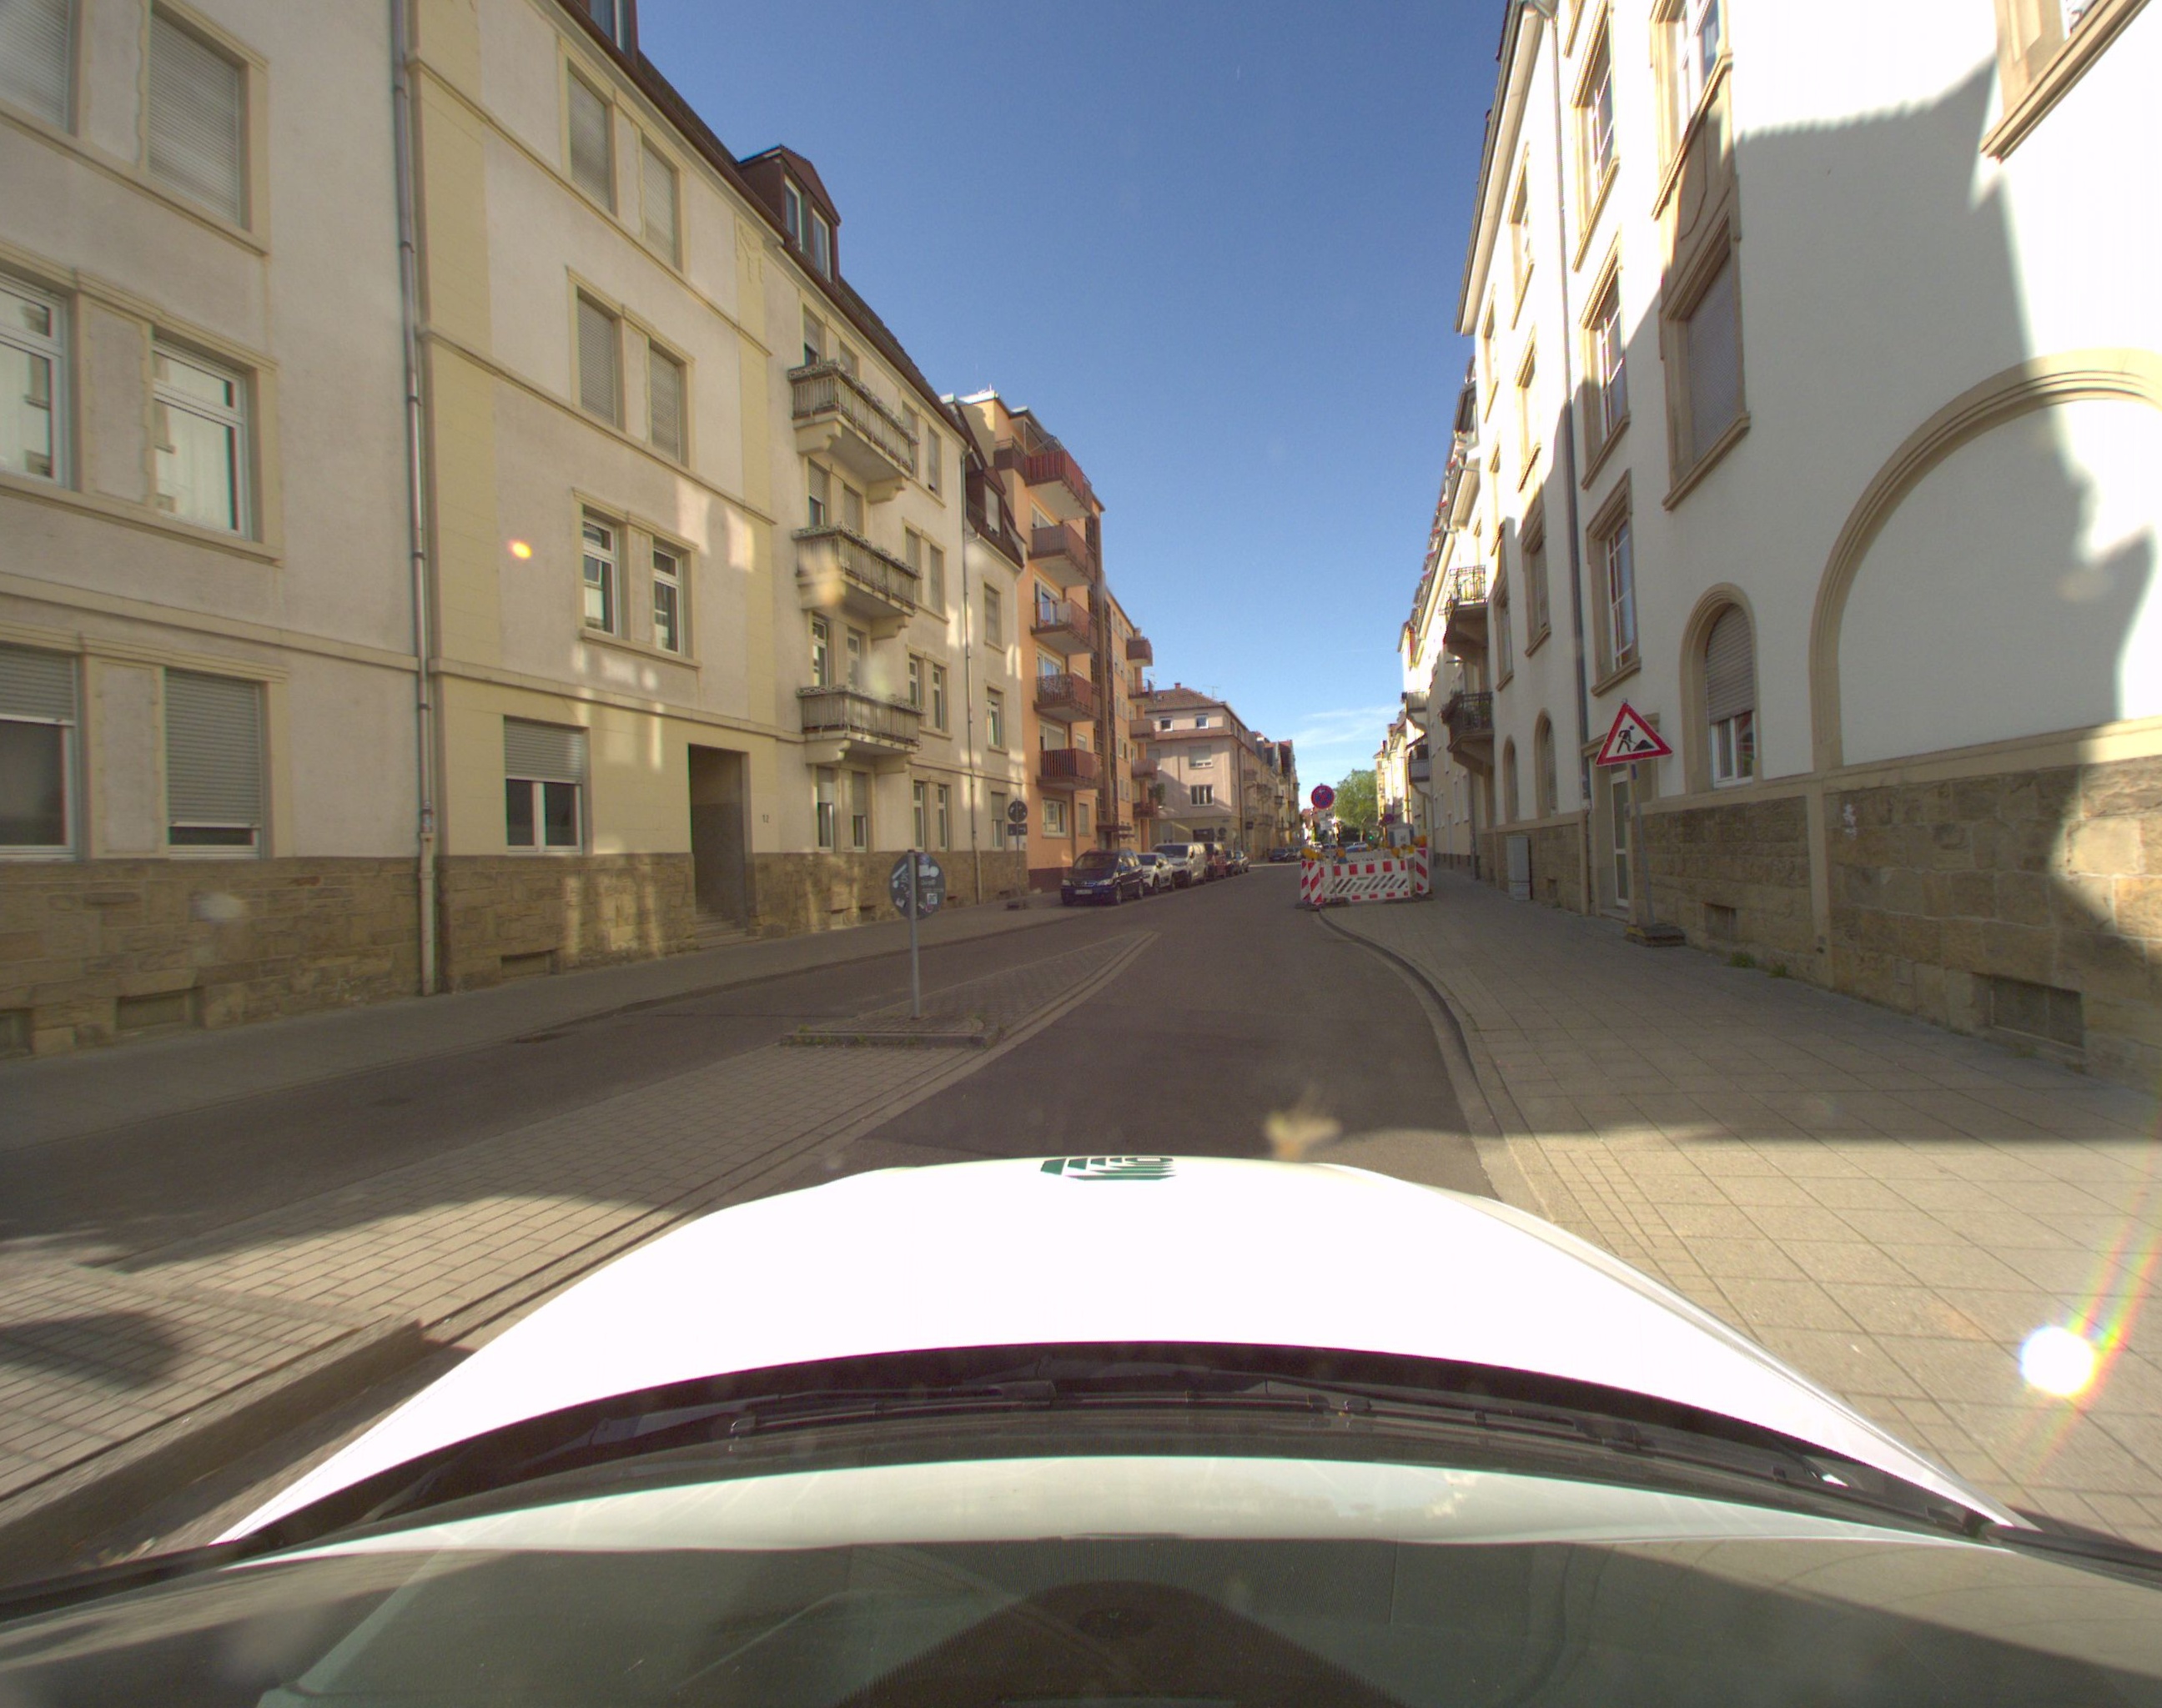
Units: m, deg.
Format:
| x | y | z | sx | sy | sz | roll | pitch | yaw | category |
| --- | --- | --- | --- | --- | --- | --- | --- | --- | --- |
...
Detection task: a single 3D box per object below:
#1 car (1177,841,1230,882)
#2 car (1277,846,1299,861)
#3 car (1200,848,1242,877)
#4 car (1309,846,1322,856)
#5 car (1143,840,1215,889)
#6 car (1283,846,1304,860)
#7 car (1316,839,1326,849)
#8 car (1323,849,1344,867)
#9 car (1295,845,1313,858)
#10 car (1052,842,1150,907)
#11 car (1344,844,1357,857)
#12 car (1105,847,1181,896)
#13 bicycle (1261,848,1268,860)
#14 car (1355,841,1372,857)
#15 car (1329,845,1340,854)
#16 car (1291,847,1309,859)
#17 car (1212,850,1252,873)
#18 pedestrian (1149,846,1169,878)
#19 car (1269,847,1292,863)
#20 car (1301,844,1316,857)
| x | y | z | sx | sy | sz | roll | pitch | yaw | category |
| --- | --- | --- | --- | --- | --- | --- | --- | --- | --- |
| 6.262 | 0.325 | 41.063 | 1.748 | 1.925 | 4.958 | -2 | 0 | 19 | car |
| 22.426 | -0.016 | 87.976 | 1.987 | 1.582 | 4.508 | 0 | 0 | 18 | car |
| 8.050 | 0.449 | 46.553 | 1.748 | 1.502 | 4.019 | -3 | 0 | 18 | car |
| 38.087 | -0.459 | 132.209 | 1.987 | 1.605 | 4.508 | 0 | 0 | 18 | car |
| 4.339 | 0.403 | 35.185 | 1.959 | 1.925 | 5.335 | -2 | 0 | 19 | car |
| 24.693 | -0.077 | 94.565 | 1.987 | 1.619 | 4.508 | 0 | 0 | 18 | car |
| 49.401 | -2.073 | 167.554 | 1.987 | 2.000 | 4.508 | 0 | 0 | 18 | car |
| 26.959 | 0.396 | 86.906 | 1.987 | 1.914 | 4.509 | 0 | 0 | 19 | car |
| 29.444 | -0.311 | 107.549 | 1.987 | 1.619 | 4.508 | 0 | 0 | 18 | car |
| 0.719 | 0.562 | 24.882 | 1.748 | 1.771 | 4.315 | -2 | 0 | 19 | car |
| 42.162 | -0.475 | 127.508 | 1.987 | 2.000 | 4.508 | 0 | 0 | 18 | car |
| 2.377 | 0.592 | 30.128 | 1.748 | 1.621 | 4.315 | -2 | 0 | 19 | car |
| 21.106 | -0.004 | 93.709 | 0.536 | 1.301 | 1.876 | -1 | 0 | 20 | bicycle |
| 35.549 | -0.597 | 102.369 | 1.823 | 1.787 | 4.048 | -3 | -2 | 20 | car |
| 51.716 | -0.961 | 166.141 | 1.987 | 1.817 | 4.508 | 0 | 0 | 18 | car |
| 27.715 | -0.132 | 103.094 | 1.963 | 1.482 | 4.348 | 0 | 0 | 18 | car |
| 9.580 | 0.444 | 51.322 | 1.748 | 1.377 | 4.500 | -2 | 0 | 20 | car |
| 4.444 | 0.465 | 46.489 | 0.917 | 1.817 | 0.999 | -2 | 0 | 15 | pedestrian |
| 19.040 | 0.113 | 77.627 | 1.665 | 1.426 | 4.296 | 0 | 0 | 21 | car |
| 32.985 | -0.458 | 117.998 | 1.987 | 1.788 | 4.508 | 0 | 0 | 18 | car |
